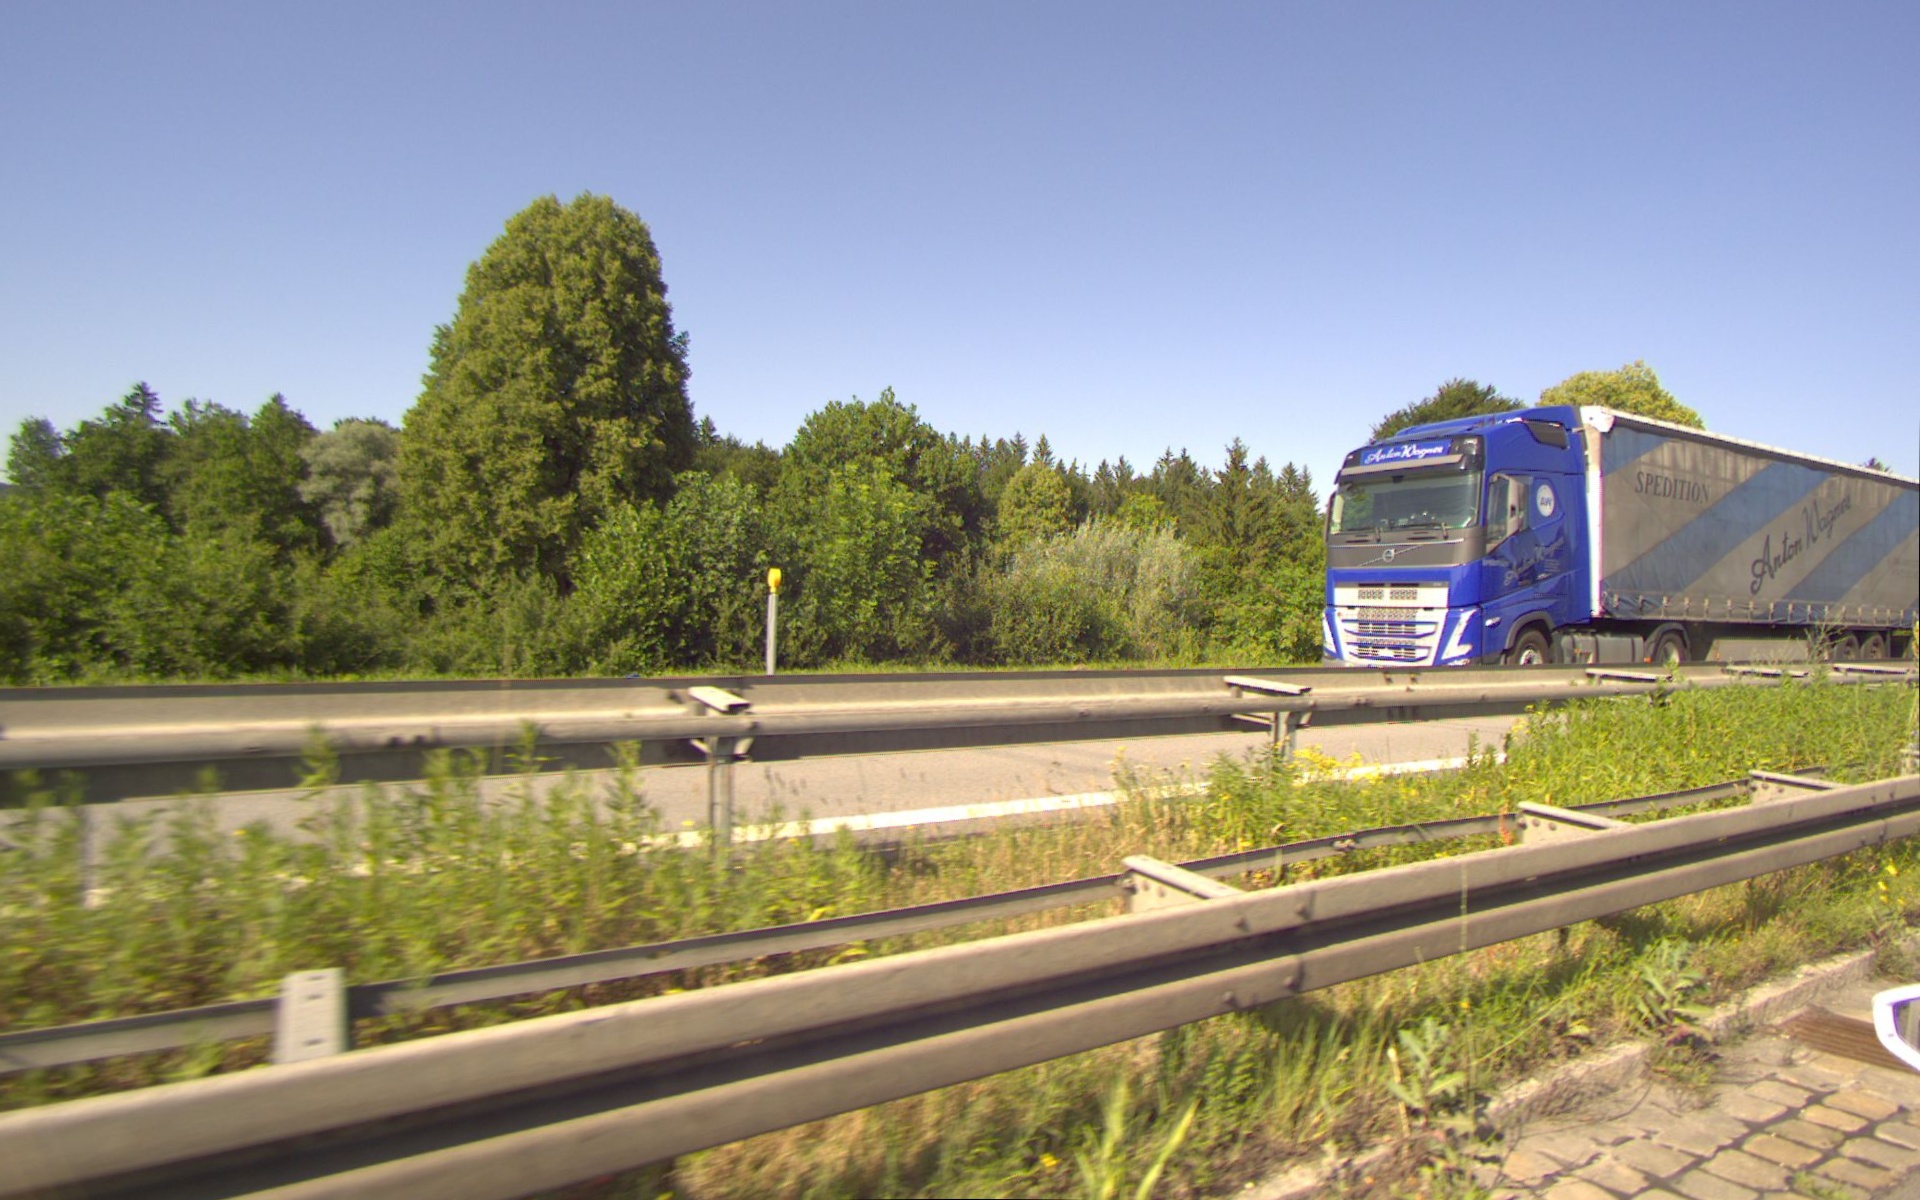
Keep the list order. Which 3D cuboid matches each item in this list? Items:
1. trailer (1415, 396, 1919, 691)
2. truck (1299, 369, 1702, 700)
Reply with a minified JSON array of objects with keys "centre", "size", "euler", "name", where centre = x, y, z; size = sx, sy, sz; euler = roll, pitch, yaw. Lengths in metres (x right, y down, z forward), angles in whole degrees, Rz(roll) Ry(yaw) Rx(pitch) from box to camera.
[{"centre":[13.689,-0.705,18.410],"size":[13.615,4.007,2.664],"euler":[1,0,-32],"name":"trailer"},{"centre":[8.059,-0.744,14.836],"size":[5.775,4.012,2.619],"euler":[1,0,-31],"name":"truck"}]
